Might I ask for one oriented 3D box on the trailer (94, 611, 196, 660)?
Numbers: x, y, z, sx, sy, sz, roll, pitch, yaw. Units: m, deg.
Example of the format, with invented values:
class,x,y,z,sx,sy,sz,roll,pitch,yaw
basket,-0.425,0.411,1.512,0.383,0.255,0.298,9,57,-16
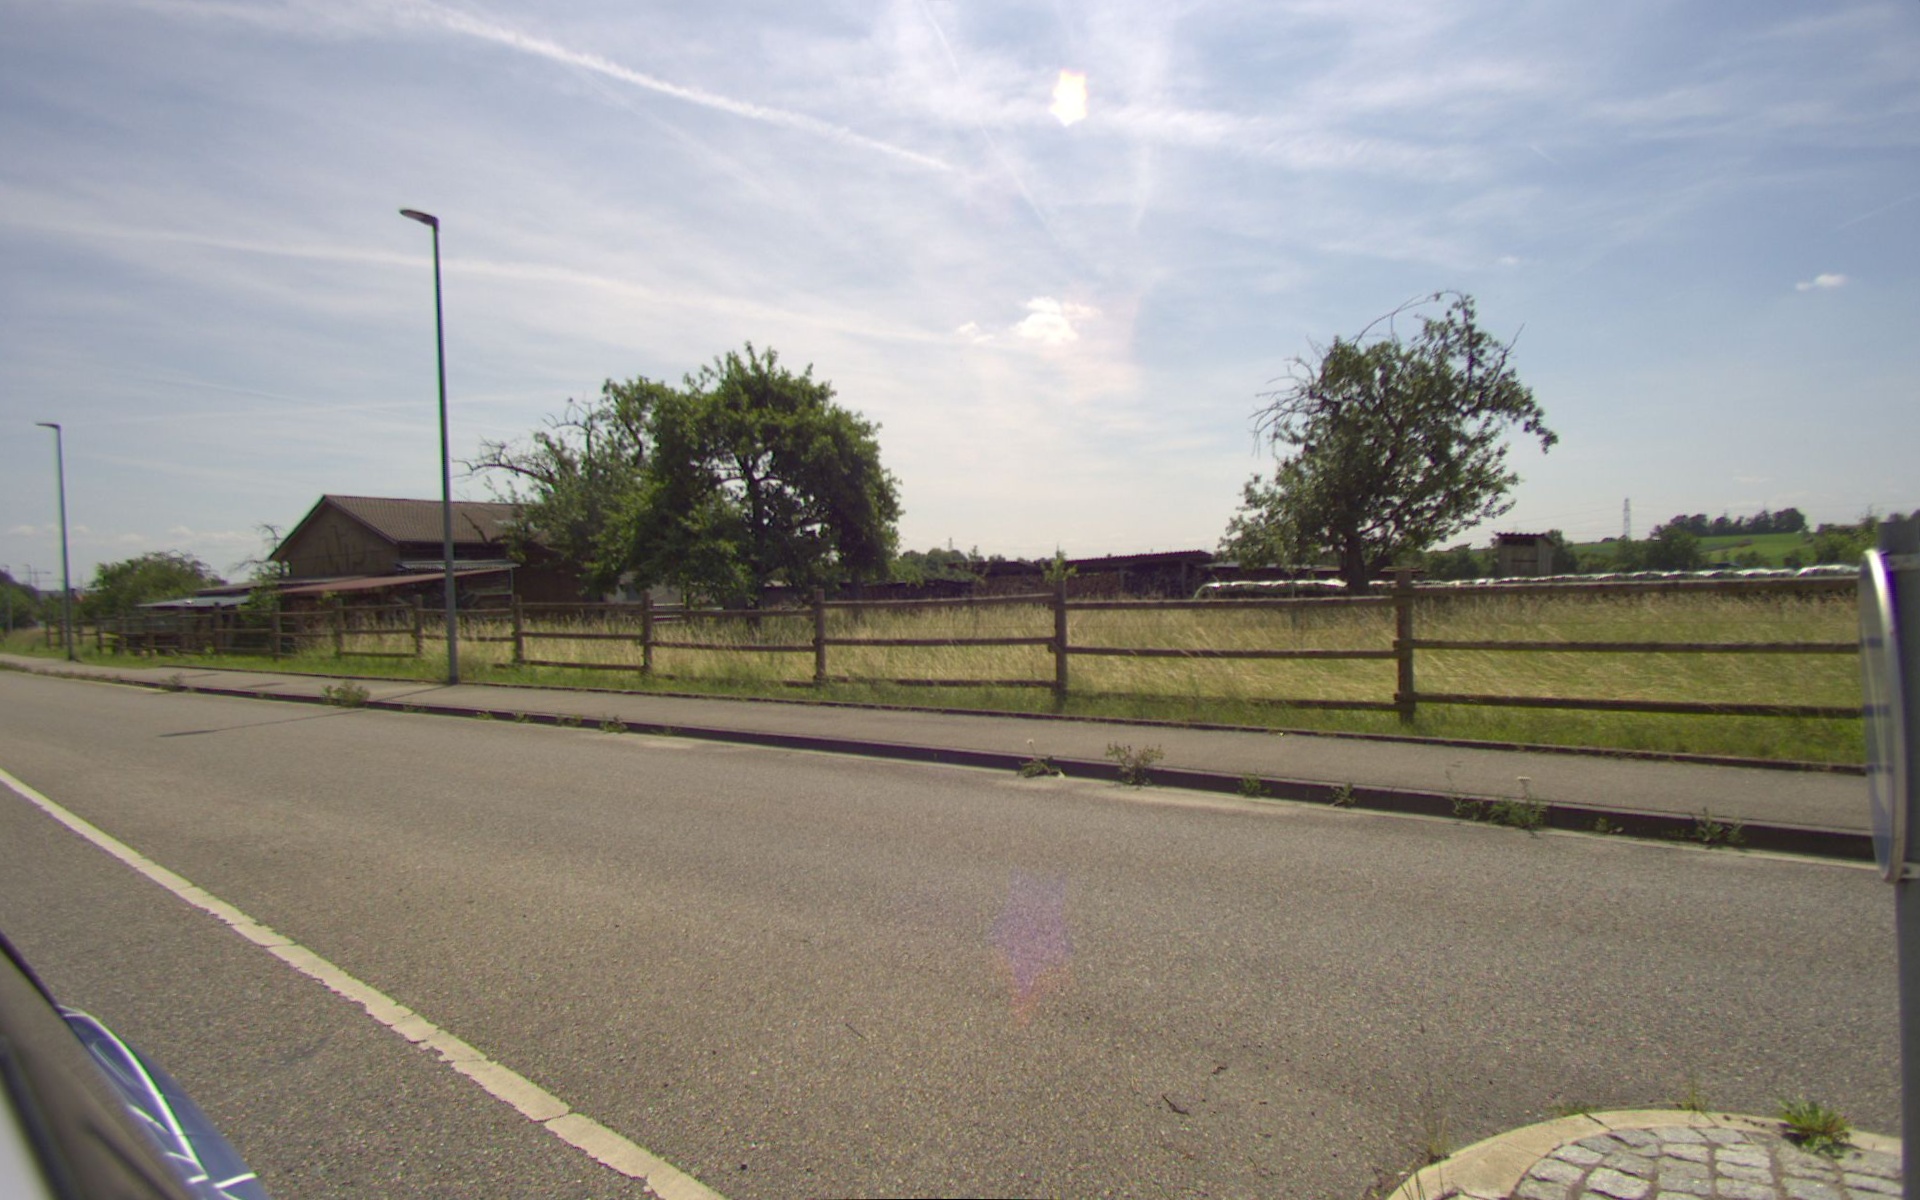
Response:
class,x,y,z,sx,sy,sz,roll,pitch,yaw
trailer,-31.037,1.329,38.495,5.025,1.716,2.133,-2,-1,40
